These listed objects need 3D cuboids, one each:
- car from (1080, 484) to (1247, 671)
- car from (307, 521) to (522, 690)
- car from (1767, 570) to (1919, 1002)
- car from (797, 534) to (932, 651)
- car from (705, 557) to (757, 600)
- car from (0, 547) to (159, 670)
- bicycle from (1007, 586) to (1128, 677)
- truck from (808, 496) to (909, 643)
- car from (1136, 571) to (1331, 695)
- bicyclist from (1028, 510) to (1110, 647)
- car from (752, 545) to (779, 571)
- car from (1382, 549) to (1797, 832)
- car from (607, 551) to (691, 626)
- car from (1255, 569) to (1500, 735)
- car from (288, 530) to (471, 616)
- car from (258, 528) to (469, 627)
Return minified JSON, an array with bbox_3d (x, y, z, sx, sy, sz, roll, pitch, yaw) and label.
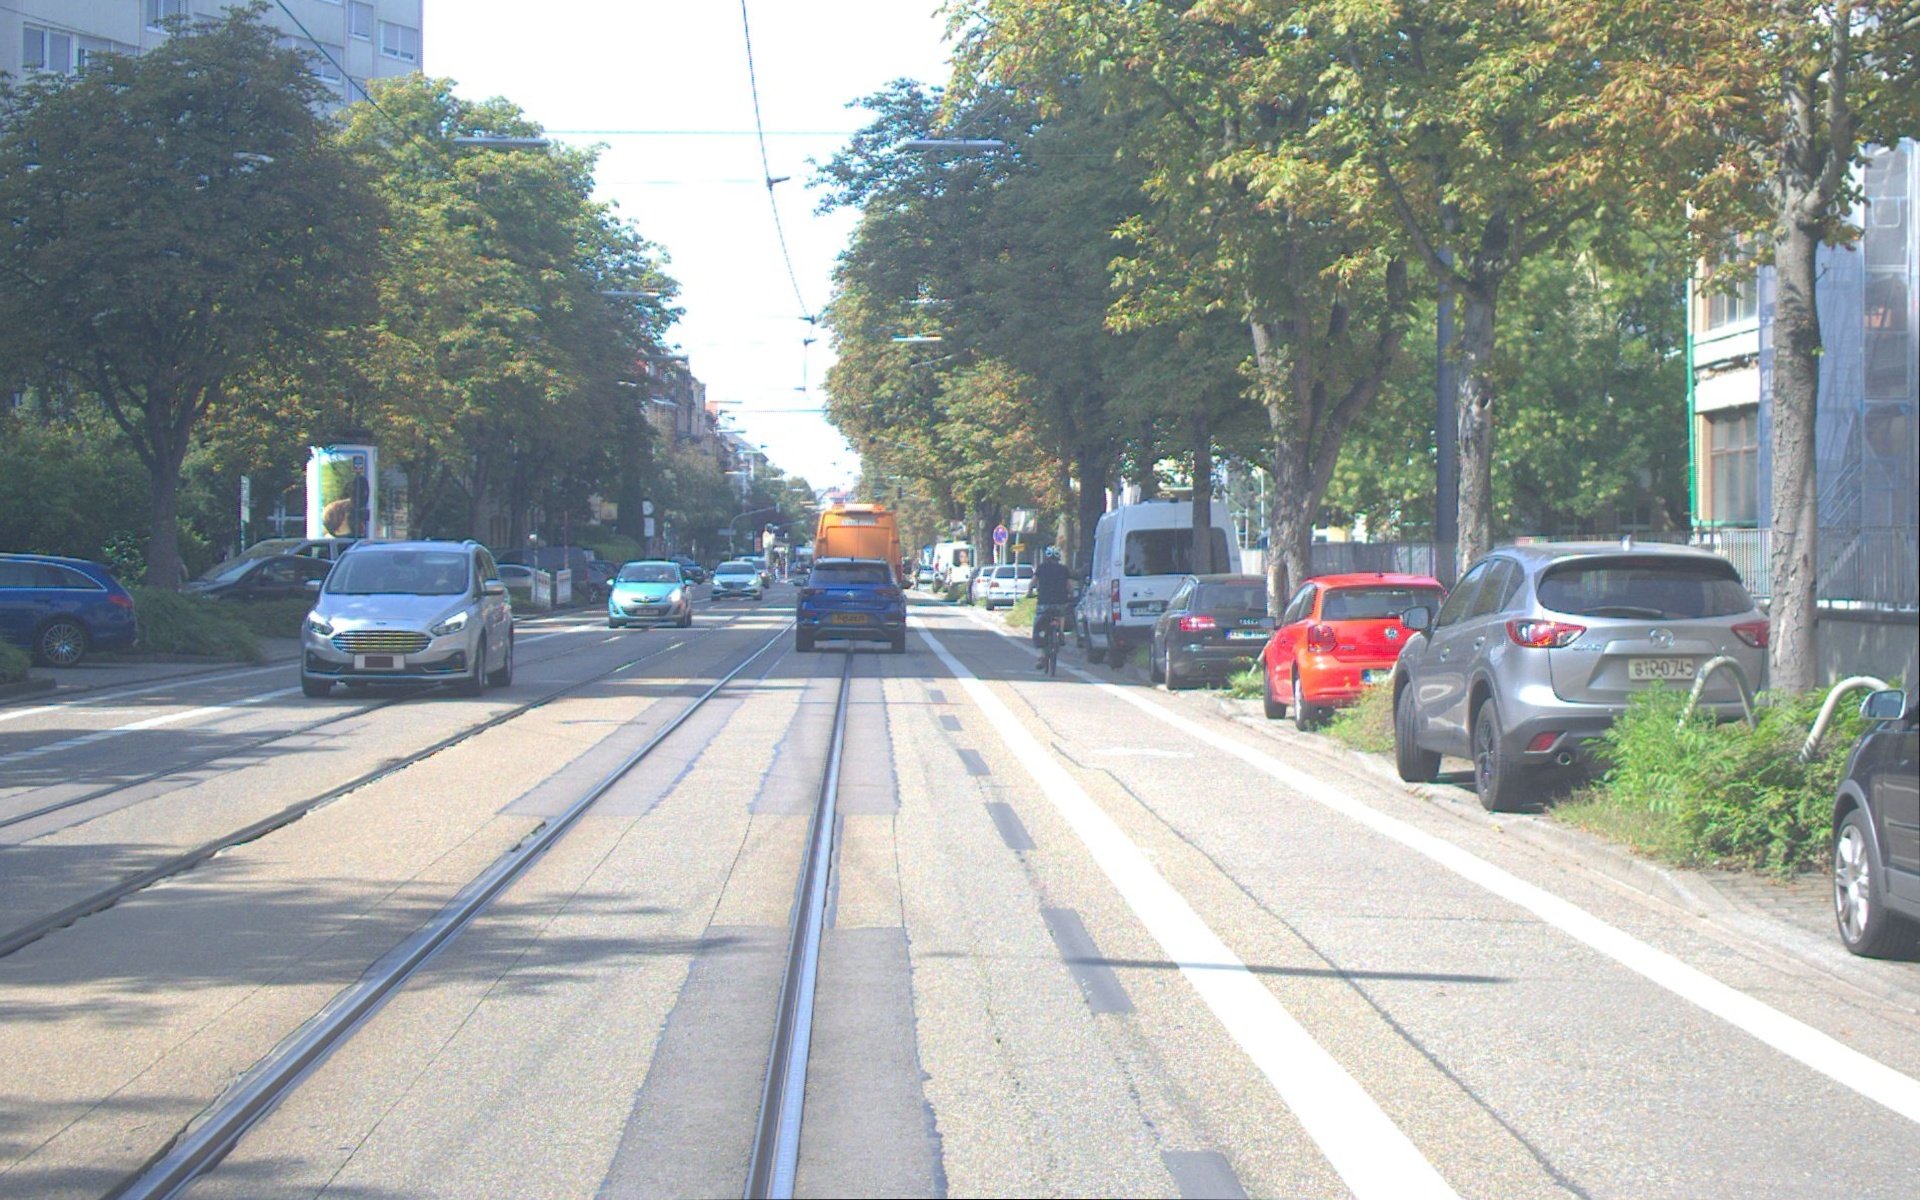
[{"bbox_3d":[3.114,-0.376,53.831,1.993,2.746,5.762,1,1,-2],"label":"car"},{"bbox_3d":[-5.802,0.031,37.011,1.780,1.678,4.348,1,1,-2],"label":"car"},{"bbox_3d":[4.371,0.706,12.645,1.633,1.579,4.189,1,1,-2],"label":"car"},{"bbox_3d":[-1.571,-0.163,57.342,2.135,1.852,5.568,0,1,-1],"label":"car"},{"bbox_3d":[-8.653,-0.820,130.183,1.898,1.556,4.123,1,1,-3],"label":"car"},{"bbox_3d":[-12.855,0.081,44.363,4.568,1.547,2.000,1,1,-25],"label":"car"},{"bbox_3d":[1.421,0.397,46.486,1.401,1.130,4.000,1,1,-1],"label":"bicycle"},{"bbox_3d":[-2.227,-0.691,76.225,2.135,3.113,6.085,0,1,-1],"label":"truck"},{"bbox_3d":[3.381,0.378,43.249,1.908,1.427,4.293,1,1,-2],"label":"car"},{"bbox_3d":[1.466,-0.293,46.477,1.031,1.806,1.016,1,1,-1],"label":"bicyclist"},{"bbox_3d":[-13.369,-2.899,236.330,1.747,1.790,4.001,1,1,-2],"label":"car"},{"bbox_3d":[4.033,0.511,22.734,1.740,1.662,4.362,1,1,-2],"label":"car"},{"bbox_3d":[-6.897,-0.276,76.589,1.633,1.579,4.189,1,1,-2],"label":"car"},{"bbox_3d":[3.958,0.460,33.117,1.740,1.457,3.684,1,1,-2],"label":"car"},{"bbox_3d":[-13.969,-0.637,82.831,3.989,2.007,1.856,0,1,-44],"label":"car"},{"bbox_3d":[-12.506,-0.456,72.184,3.989,2.007,1.856,0,1,-44],"label":"car"}]
